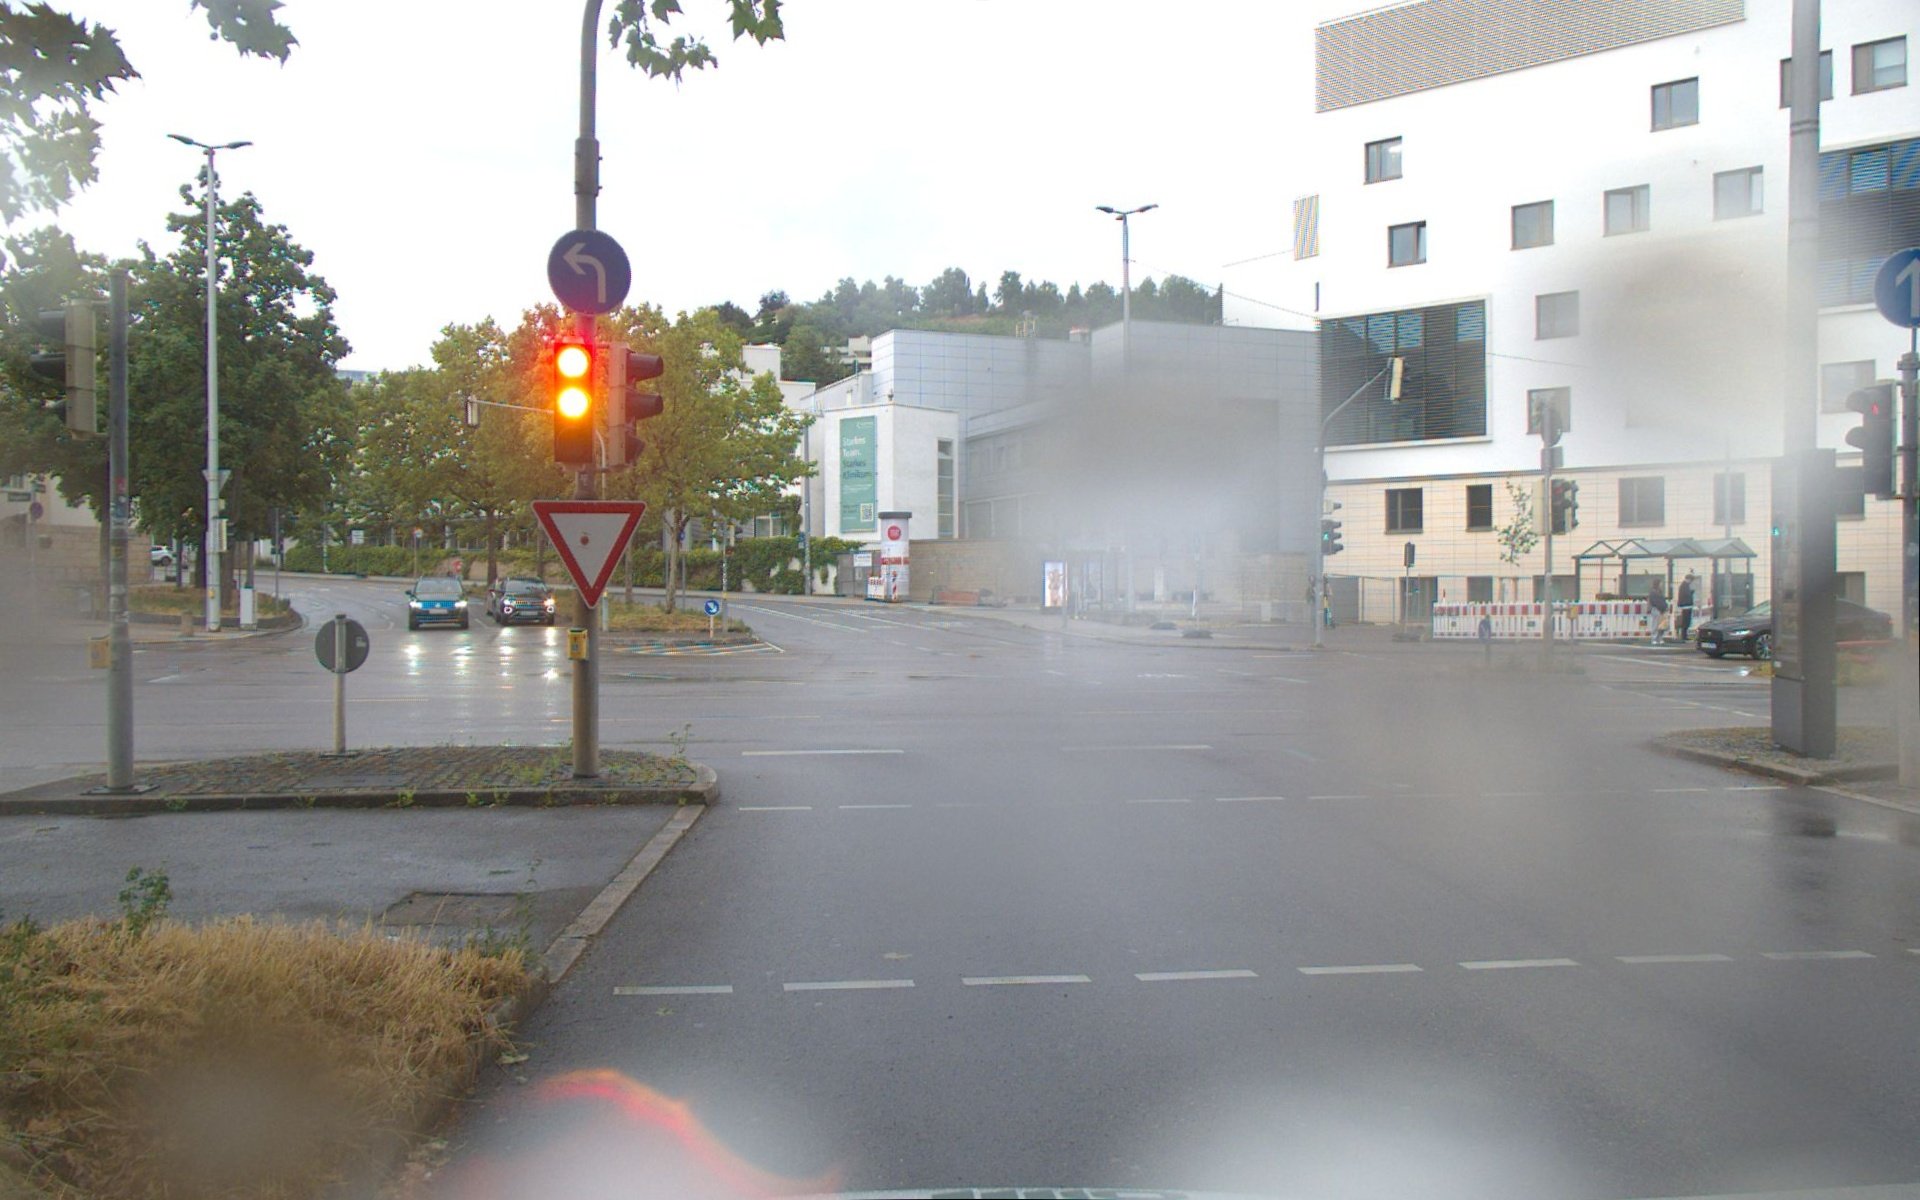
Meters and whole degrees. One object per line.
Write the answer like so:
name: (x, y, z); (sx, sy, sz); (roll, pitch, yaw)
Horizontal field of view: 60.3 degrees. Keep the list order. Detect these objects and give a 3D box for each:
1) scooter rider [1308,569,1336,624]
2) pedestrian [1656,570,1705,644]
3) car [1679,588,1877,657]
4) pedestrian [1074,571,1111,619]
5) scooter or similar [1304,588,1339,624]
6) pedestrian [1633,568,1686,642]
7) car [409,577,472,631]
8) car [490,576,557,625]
scooter rider: (12.766, -0.116, 58.284); (0.713, 1.916, 0.628); (2, -1, -21)
pedestrian: (19.467, 0.189, 44.692); (0.980, 1.969, 0.955); (1, -1, 9)
car: (18.955, 0.519, 38.350); (3.921, 1.469, 1.790); (2, 0, -16)
pedestrian: (4.951, -0.187, 61.854); (1.232, 1.749, 1.016); (1, -1, -2)
scooter or similar: (12.737, 0.207, 58.322); (0.582, 1.260, 1.305); (2, -1, -22)
pedestrian: (18.007, 0.126, 42.595); (0.934, 1.872, 0.821); (2, -1, -12)
car: (-16.785, 0.095, 53.477); (1.839, 1.591, 4.255); (-1, 2, -18)
car: (-15.190, -0.017, 57.487); (1.764, 1.612, 3.973); (0, 1, -22)
